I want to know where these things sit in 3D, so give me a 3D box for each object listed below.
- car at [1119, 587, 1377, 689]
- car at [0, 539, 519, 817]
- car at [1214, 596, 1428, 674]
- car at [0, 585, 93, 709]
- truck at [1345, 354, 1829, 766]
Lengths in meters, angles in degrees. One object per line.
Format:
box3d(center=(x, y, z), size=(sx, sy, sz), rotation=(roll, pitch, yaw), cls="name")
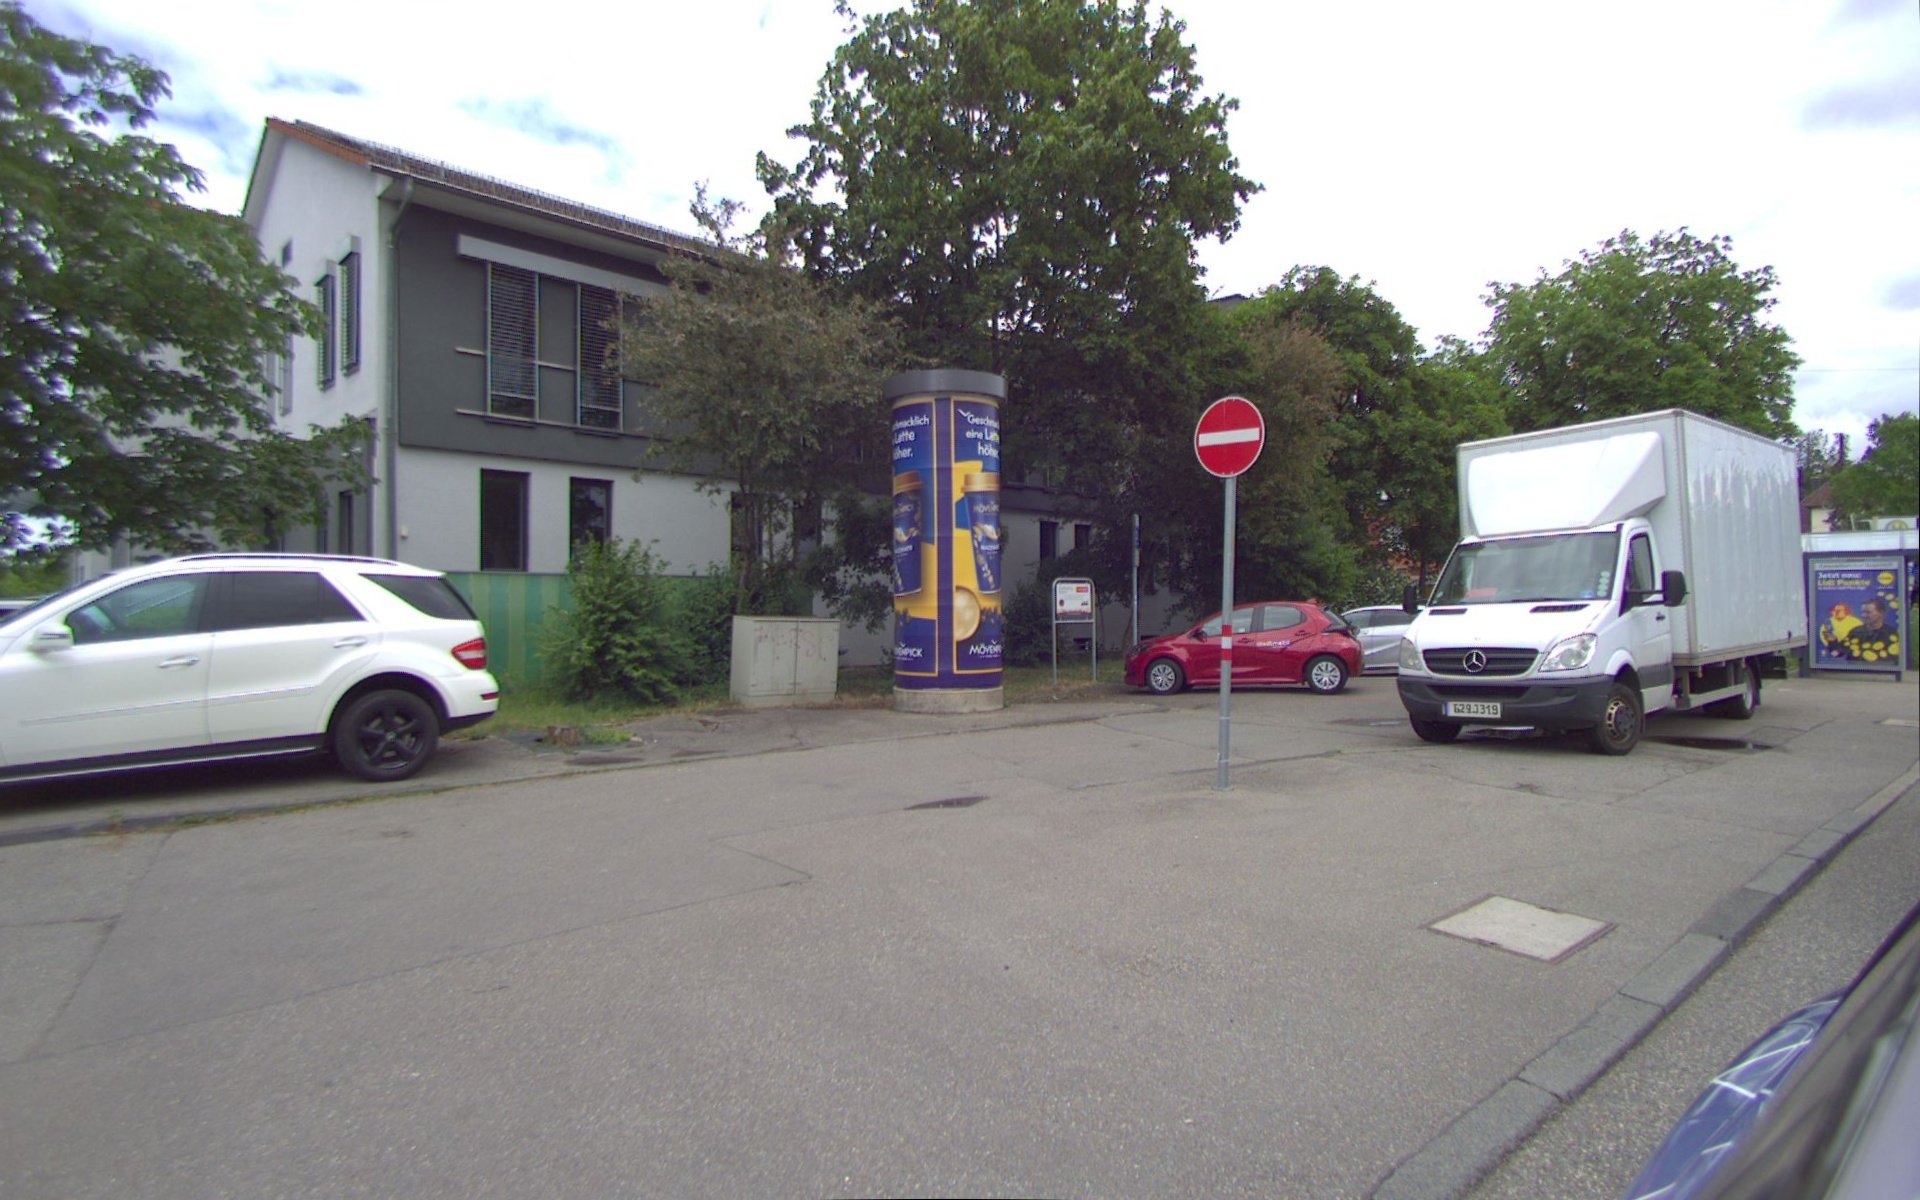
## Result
box3d(center=(4.764, 0.641, 16.773), size=(3.856, 1.502, 1.669), rotation=(-3, -1, 25), cls="car")
box3d(center=(-6.087, 0.493, 7.756), size=(4.640, 1.780, 1.855), rotation=(0, 0, -41), cls="car")
box3d(center=(7.318, 0.719, 20.784), size=(3.946, 1.428, 1.515), rotation=(-2, -1, 18), cls="car")
box3d(center=(-13.112, 0.618, 11.984), size=(1.615, 1.502, 4.154), rotation=(0, 1, 42), cls="car")
box3d(center=(7.762, -0.398, 11.968), size=(7.638, 3.469, 2.540), rotation=(-1, 0, -40), cls="truck")
